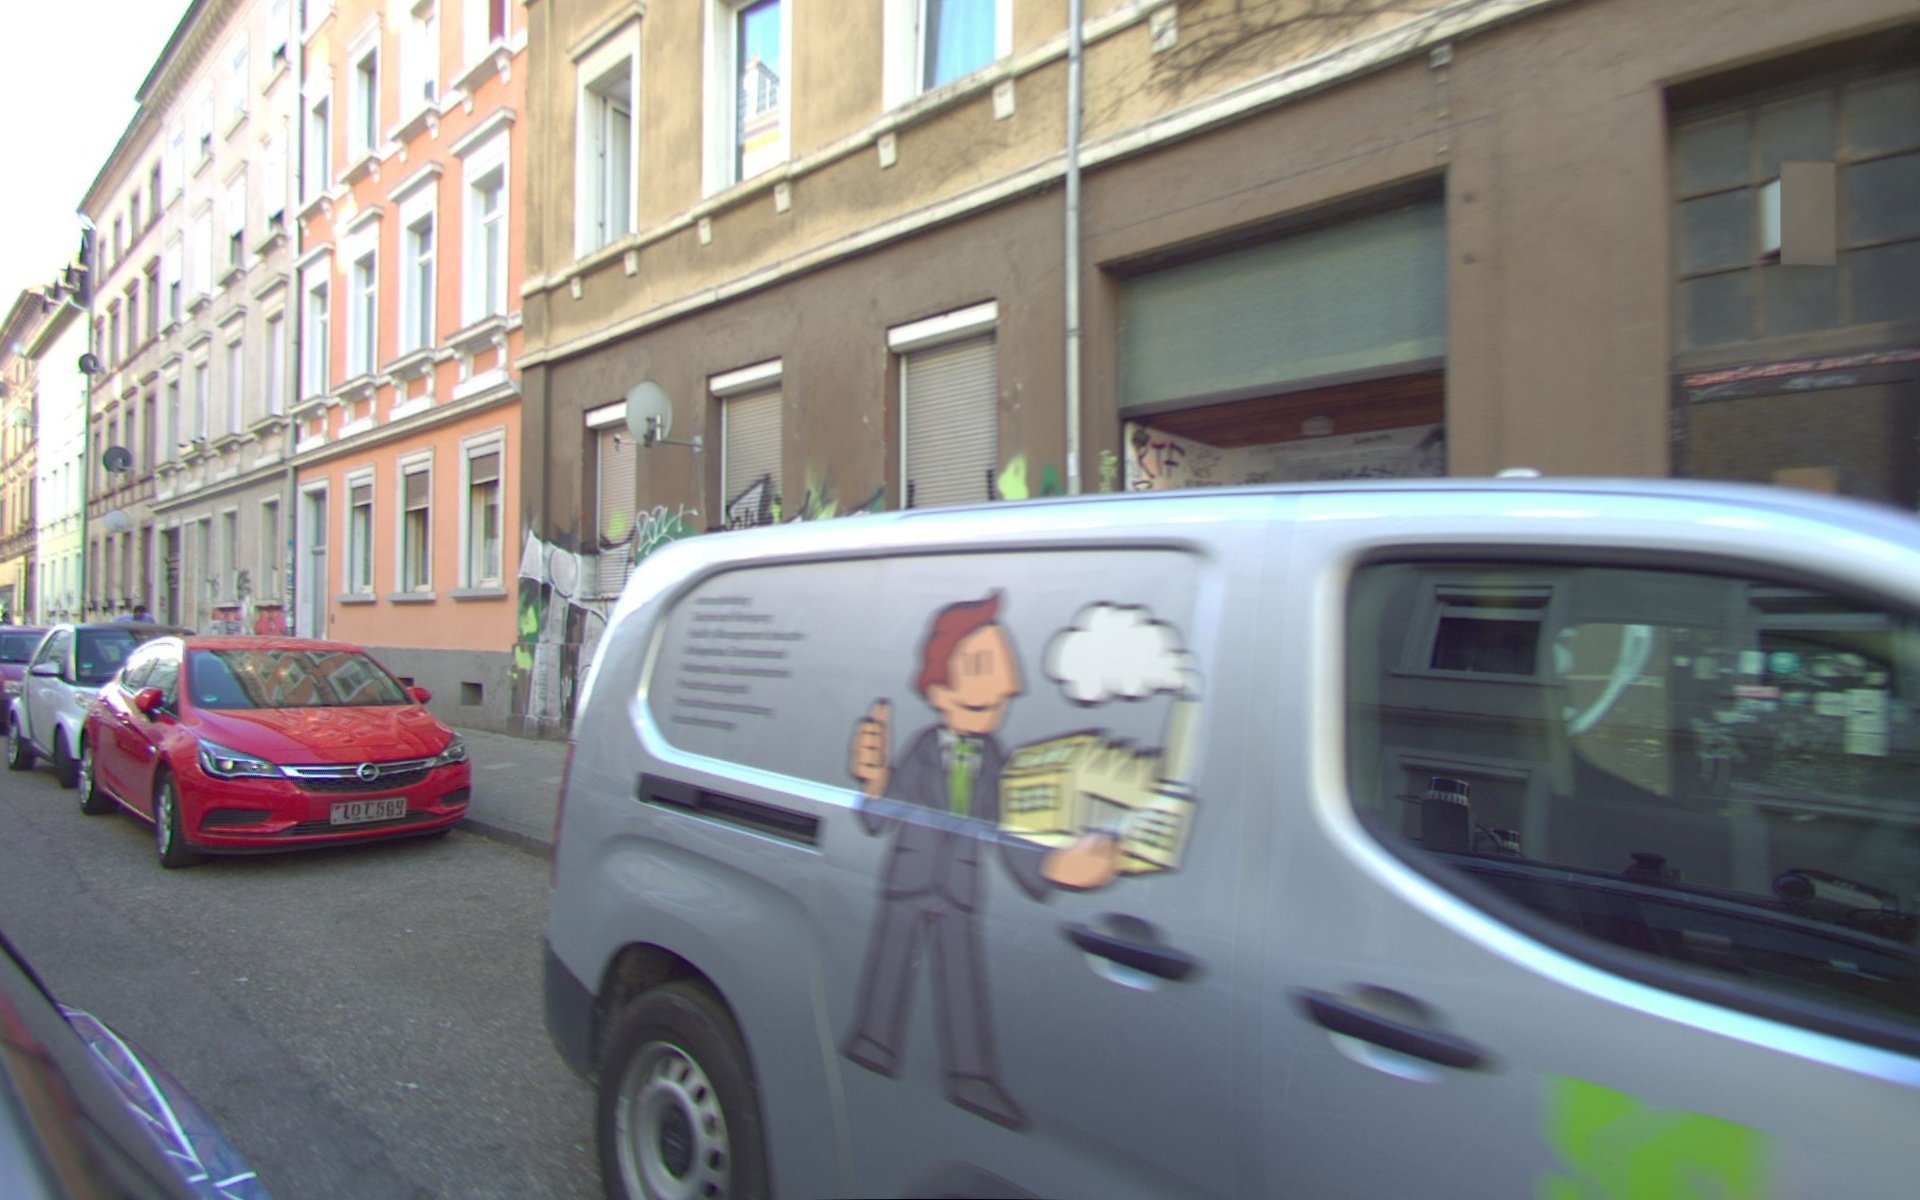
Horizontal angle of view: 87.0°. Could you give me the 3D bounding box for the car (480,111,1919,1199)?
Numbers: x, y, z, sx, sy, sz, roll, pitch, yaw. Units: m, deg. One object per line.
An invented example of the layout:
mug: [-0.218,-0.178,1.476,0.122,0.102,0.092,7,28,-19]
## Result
car: [1.000,0.580,1.852,4.517,1.925,1.661,-2,-5,41]

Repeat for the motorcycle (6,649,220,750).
motorcycle: [-11.071,1.255,13.329,0.784,1.137,2.068,-1,-1,19]

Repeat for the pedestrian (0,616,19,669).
pedestrian: [-33.656,1.503,35.706,0.594,1.845,0.618,-2,-1,42]

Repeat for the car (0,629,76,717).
car: [-17.518,1.261,18.357,4.311,1.474,1.661,-2,-2,41]

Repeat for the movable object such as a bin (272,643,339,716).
movable object such as a bin: [-10.112,1.211,15.639,0.768,1.057,0.663,-2,0,-41]

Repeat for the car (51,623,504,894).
car: [-5.260,0.958,7.582,4.199,1.485,1.662,-1,-4,40]

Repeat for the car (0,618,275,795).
car: [-8.676,1.002,10.541,2.955,1.561,1.663,-1,-3,37]

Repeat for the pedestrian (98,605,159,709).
pedestrian: [-15.236,1.023,18.555,0.594,1.845,0.780,-2,-1,41]

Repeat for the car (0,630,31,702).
car: [-21.181,1.378,21.739,1.659,1.474,3.862,2,-3,-44]

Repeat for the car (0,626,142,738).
car: [-13.886,1.158,15.273,3.608,1.504,1.662,-2,-2,39]
